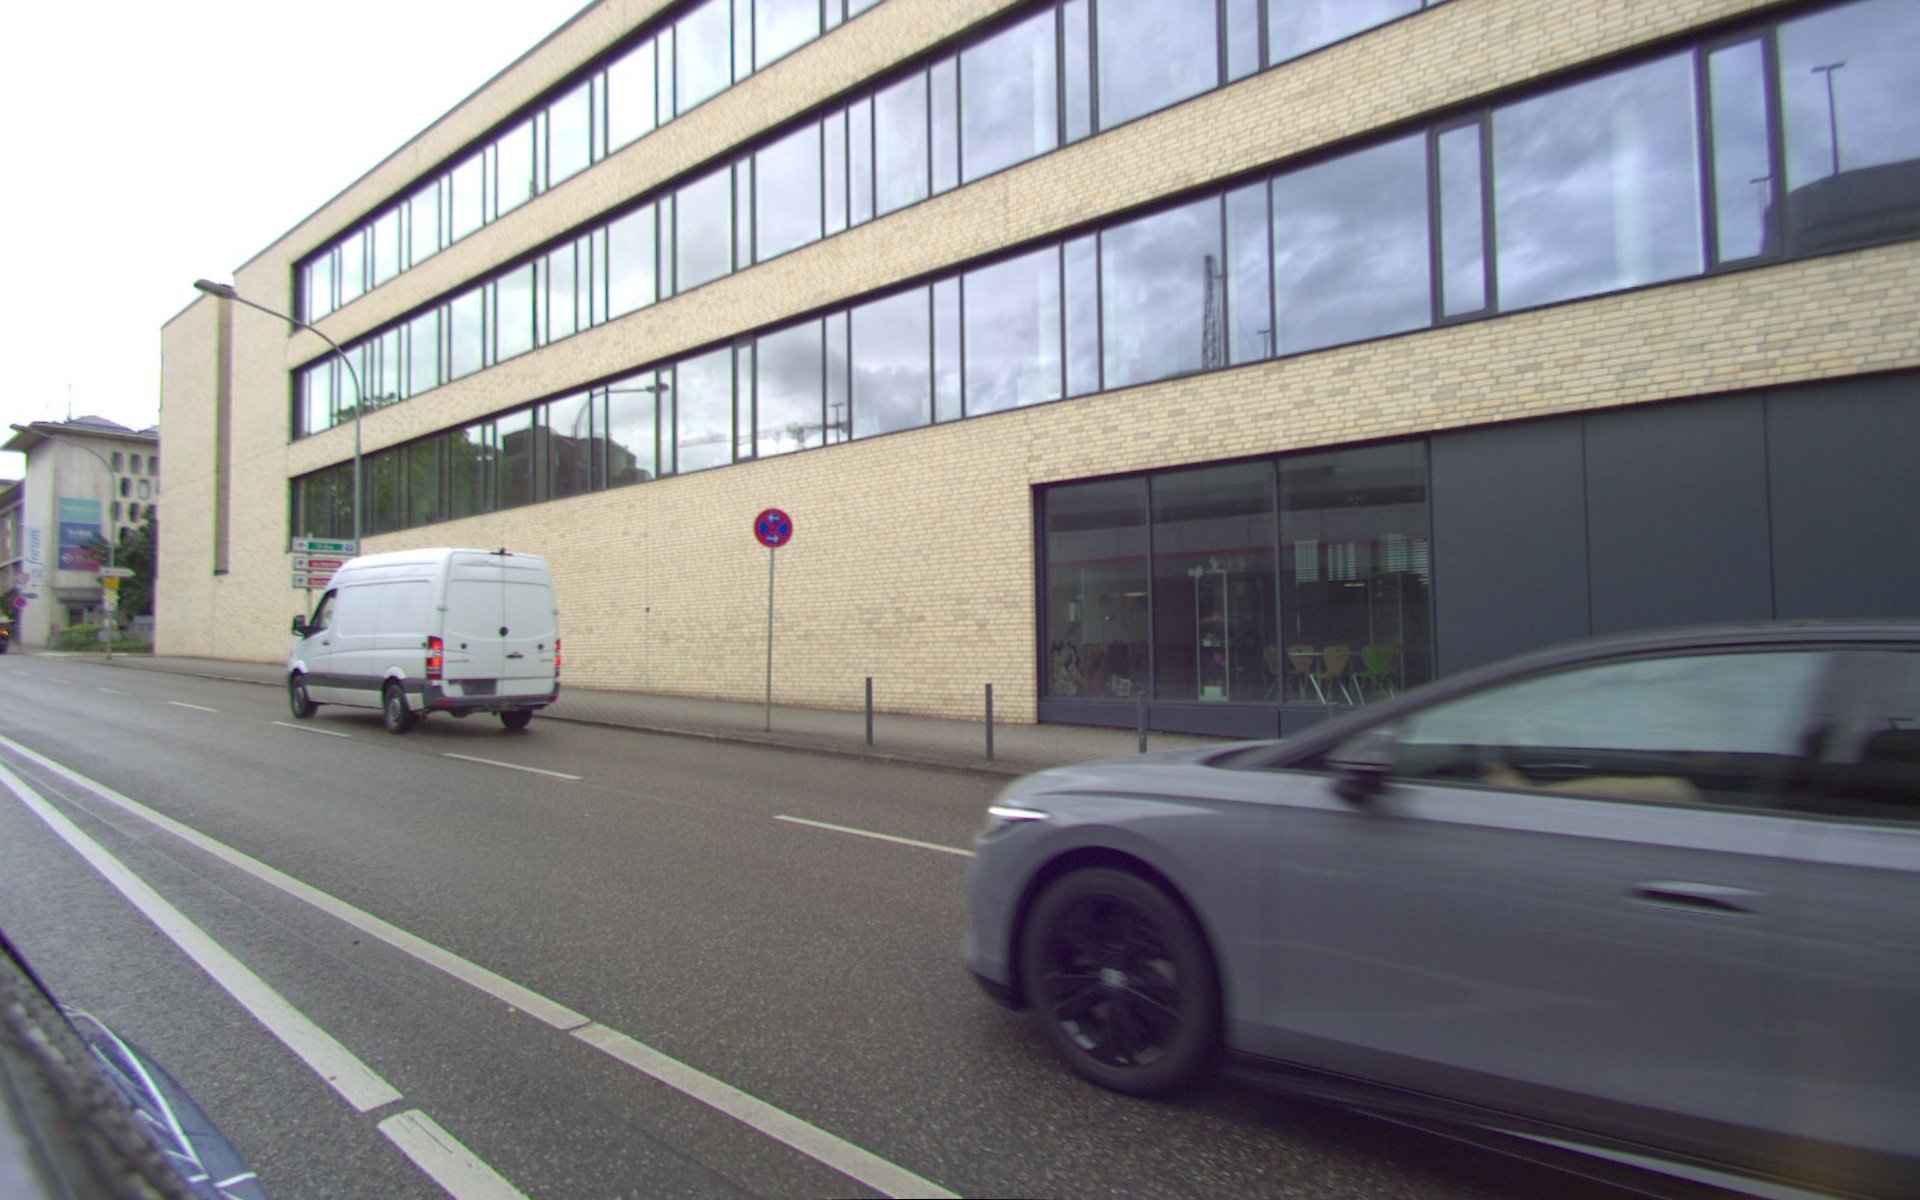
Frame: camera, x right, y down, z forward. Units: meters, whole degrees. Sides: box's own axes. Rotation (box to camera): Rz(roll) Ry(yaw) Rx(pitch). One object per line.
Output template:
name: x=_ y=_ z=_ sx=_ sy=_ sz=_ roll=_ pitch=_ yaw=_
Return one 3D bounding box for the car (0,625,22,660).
car: x=-49.157 y=2.114 z=49.910 sx=3.938 sy=1.674 sz=1.863 roll=0 pitch=-1 yaw=-6

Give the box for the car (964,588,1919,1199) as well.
car: x=2.370 y=0.775 z=2.716 sx=4.557 sy=1.509 sz=1.864 roll=-1 pitch=-3 yaw=39

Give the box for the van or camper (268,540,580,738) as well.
van or camper: x=-8.614 y=0.598 z=15.984 sx=5.900 sy=2.602 sz=2.081 roll=-1 pitch=-4 yaw=38
